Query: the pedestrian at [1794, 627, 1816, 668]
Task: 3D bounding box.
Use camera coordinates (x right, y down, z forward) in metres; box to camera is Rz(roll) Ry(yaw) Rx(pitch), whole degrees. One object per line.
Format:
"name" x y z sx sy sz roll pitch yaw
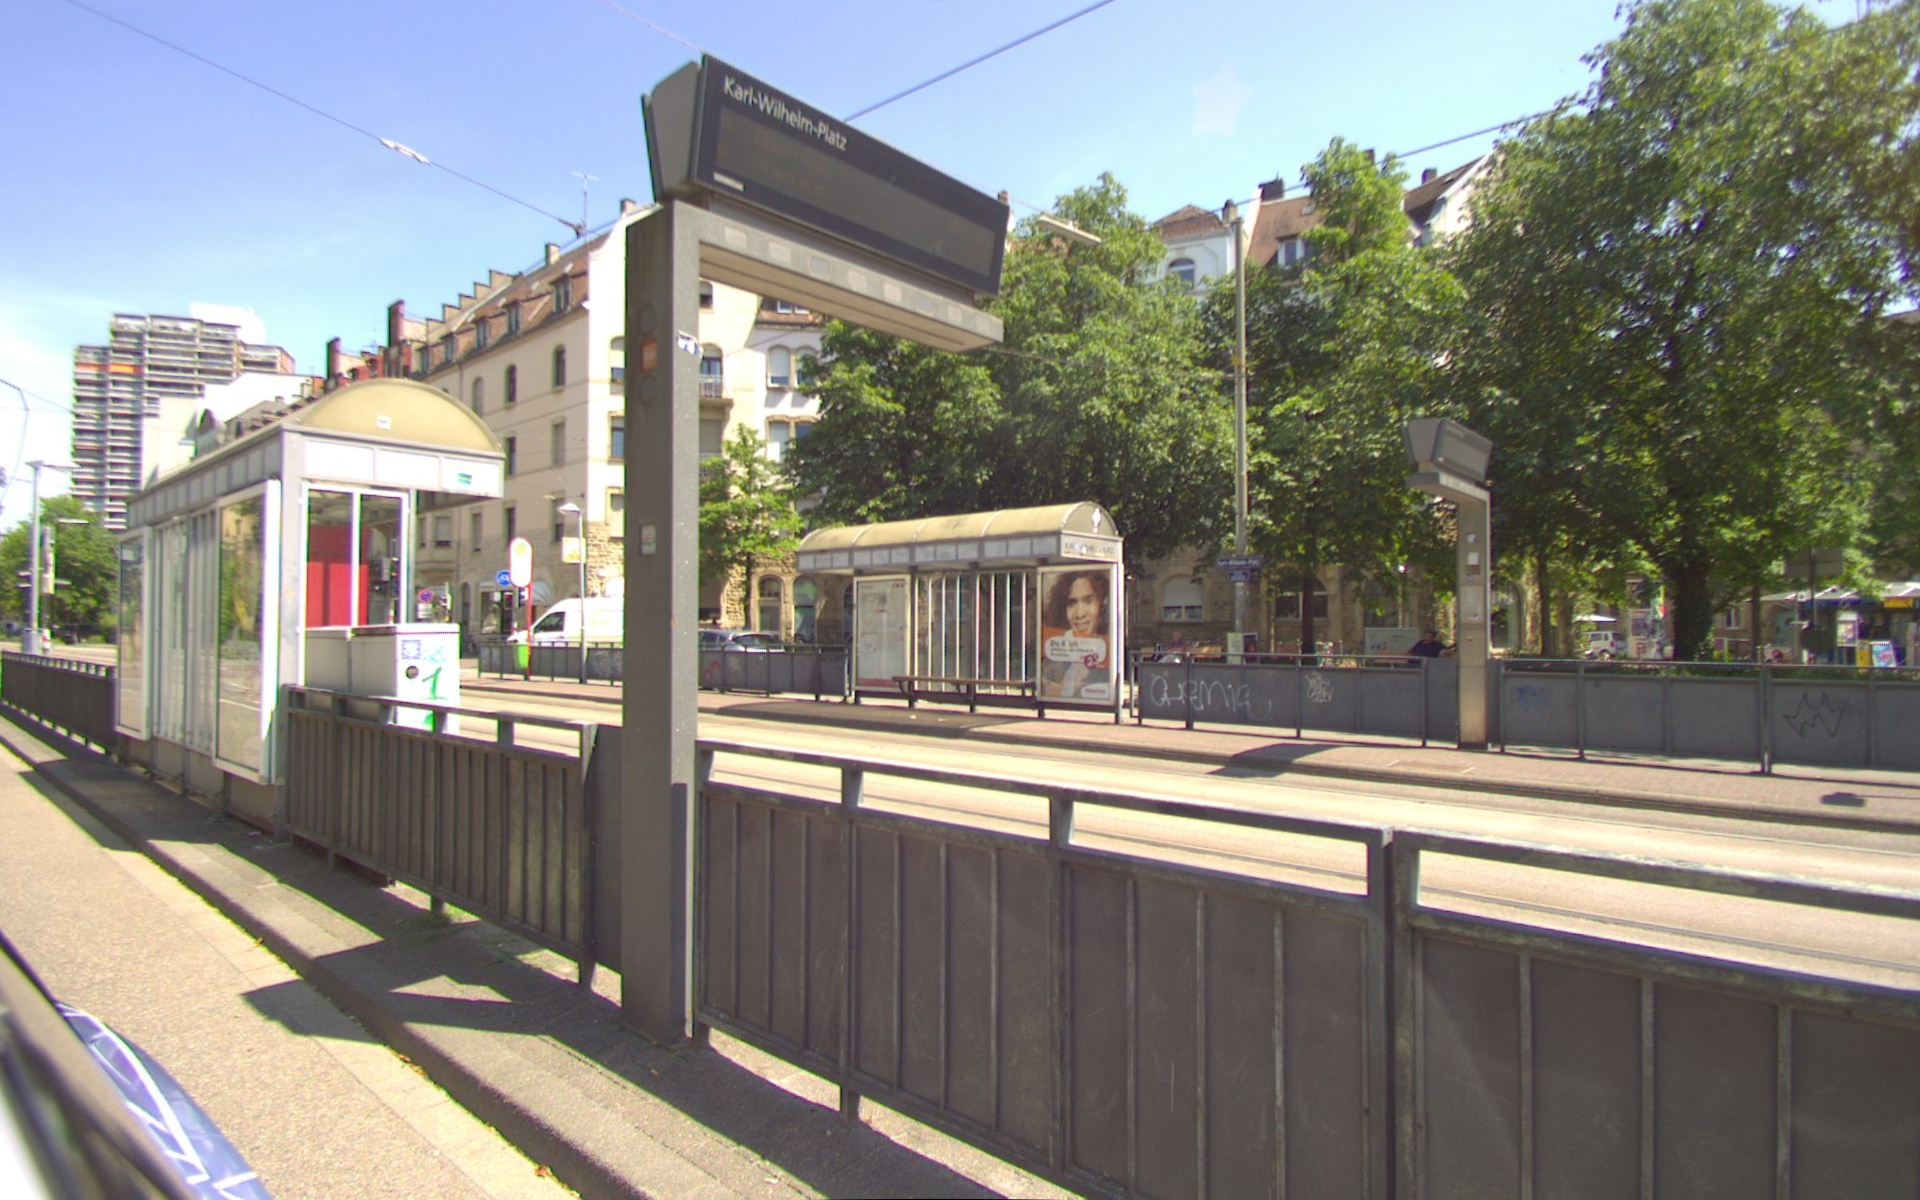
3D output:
"pedestrian" 35.006 1.968 41.925 0.483 1.683 0.517 1 -2 -27

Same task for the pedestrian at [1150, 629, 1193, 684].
"pedestrian" 5.093 1.350 24.316 0.930 1.253 0.860 -1 0 17

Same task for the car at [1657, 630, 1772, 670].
"car" 35.787 2.339 48.103 1.736 1.721 3.998 -1 0 -33

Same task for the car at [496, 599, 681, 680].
"car" -13.096 1.348 36.002 5.741 2.693 2.276 -1 0 -3

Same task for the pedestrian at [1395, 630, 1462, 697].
"pedestrian" 9.282 1.234 20.041 0.852 1.253 0.939 -1 0 -43

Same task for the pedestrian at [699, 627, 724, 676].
"pedestrian" -7.984 1.653 32.495 0.473 1.563 0.586 -2 -3 39

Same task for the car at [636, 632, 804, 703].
"car" -5.599 1.484 23.362 3.998 1.404 1.789 -1 0 41

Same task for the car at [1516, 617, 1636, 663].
"car" 26.718 1.695 44.010 1.966 1.803 4.011 -1 0 -33

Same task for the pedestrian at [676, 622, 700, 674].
"pedestrian" -8.905 1.567 33.078 0.473 1.659 0.586 -2 -3 41
